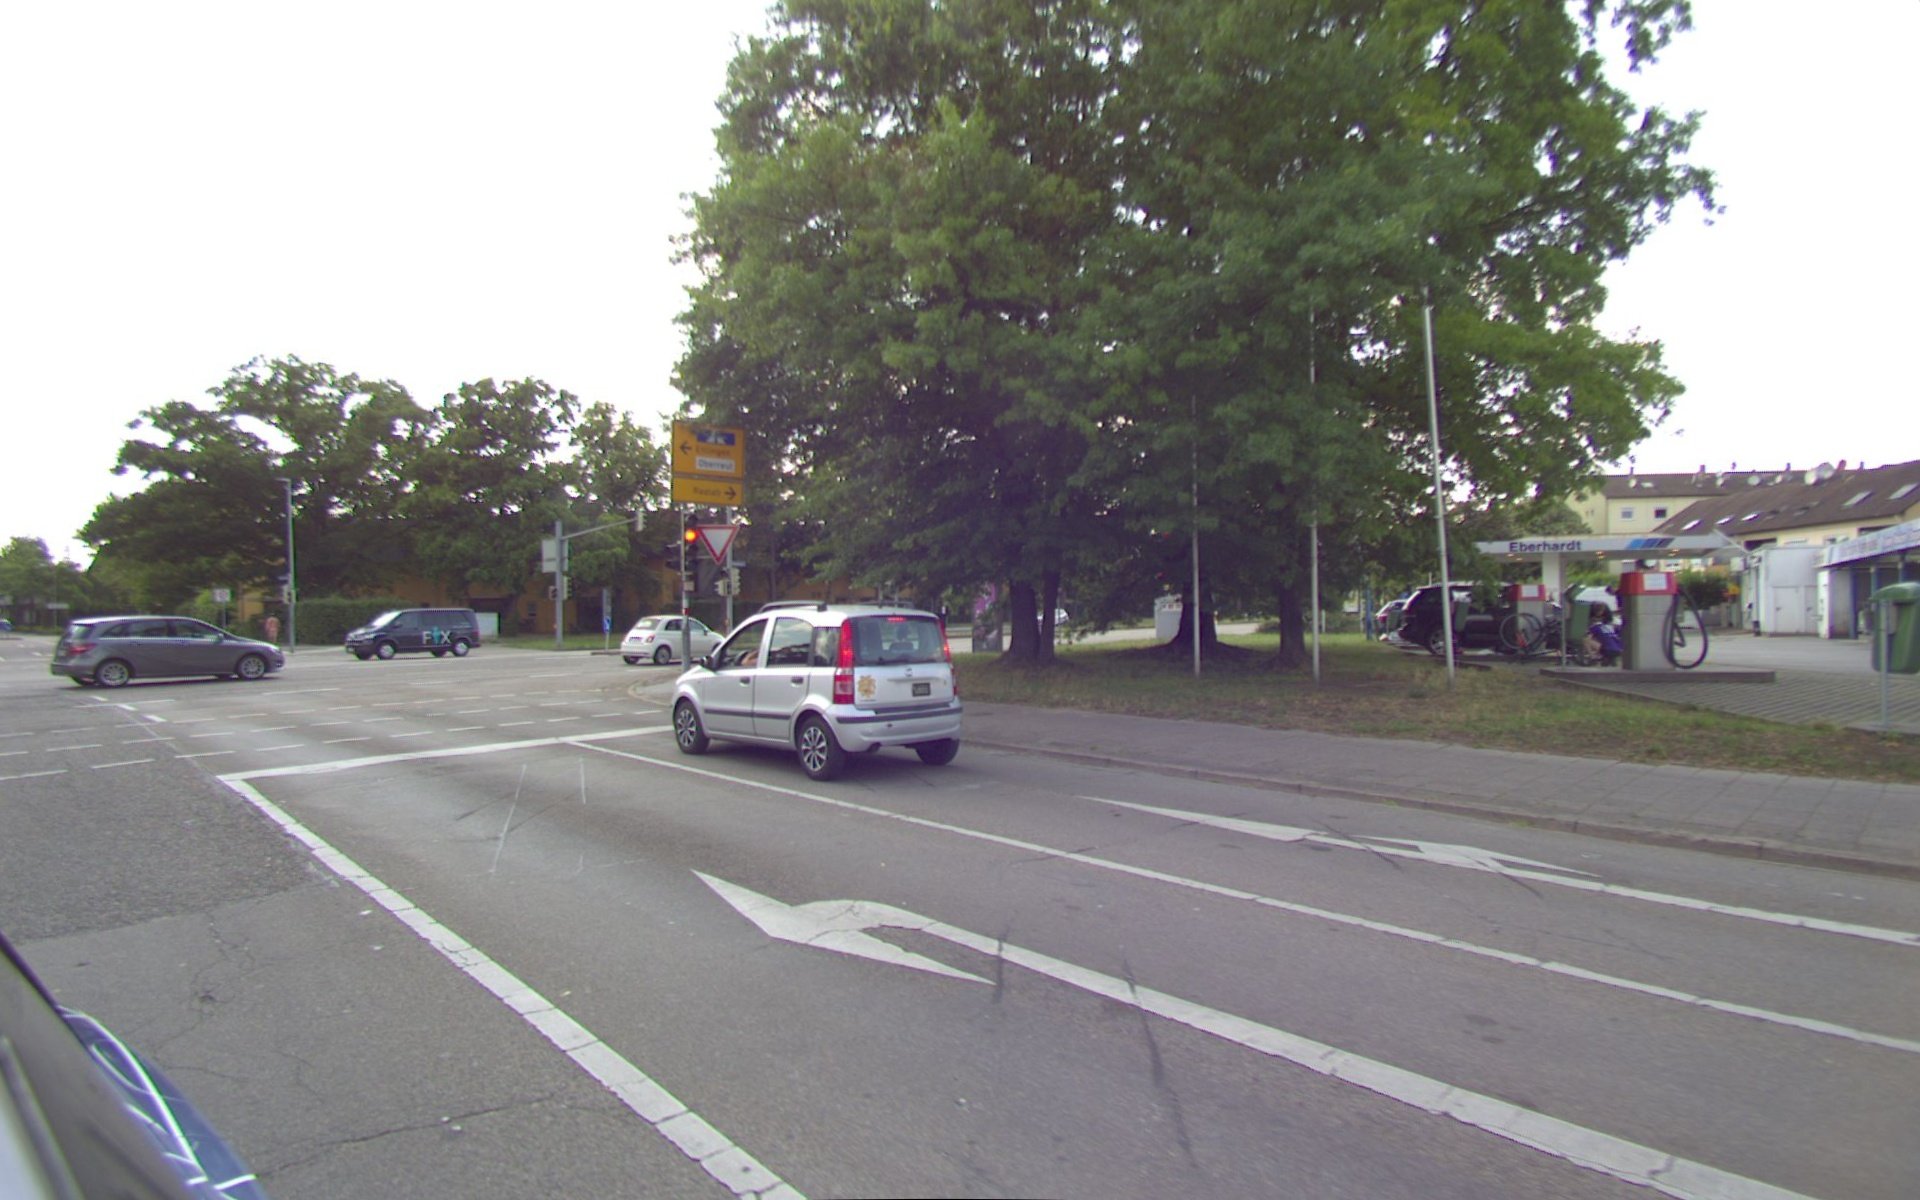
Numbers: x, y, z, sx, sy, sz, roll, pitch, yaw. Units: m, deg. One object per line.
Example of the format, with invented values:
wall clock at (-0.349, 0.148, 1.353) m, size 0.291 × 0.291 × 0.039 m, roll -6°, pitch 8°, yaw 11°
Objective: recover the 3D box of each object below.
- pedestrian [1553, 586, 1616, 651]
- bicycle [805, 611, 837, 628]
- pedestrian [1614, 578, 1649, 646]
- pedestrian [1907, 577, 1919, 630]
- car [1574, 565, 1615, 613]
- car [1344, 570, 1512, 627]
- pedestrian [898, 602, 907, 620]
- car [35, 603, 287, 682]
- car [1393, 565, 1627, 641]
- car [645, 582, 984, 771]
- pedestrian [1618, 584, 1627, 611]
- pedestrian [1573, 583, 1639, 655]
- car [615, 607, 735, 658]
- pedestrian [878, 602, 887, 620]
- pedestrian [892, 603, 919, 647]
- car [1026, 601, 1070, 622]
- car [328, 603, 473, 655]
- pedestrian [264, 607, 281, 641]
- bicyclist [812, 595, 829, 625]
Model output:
pedestrian at (11.840, 0.347, 19.205) m, size 0.635 × 1.199 × 0.768 m, roll 1°, pitch 0°, yaw -10°
bicycle at (-9.481, 1.304, 69.007) m, size 2.100 × 1.127 × 0.751 m, roll -1°, pitch -1°, yaw 22°
pedestrian at (15.164, 0.266, 22.859) m, size 0.559 × 1.506 × 0.614 m, roll 1°, pitch 0°, yaw 27°
pedestrian at (28.521, 0.098, 29.965) m, size 0.655 × 1.556 × 0.615 m, roll -1°, pitch -1°, yaw 41°
car at (34.499, -0.582, 55.083) m, size 1.750 × 2.472 × 5.688 m, roll -1°, pitch -1°, yaw 32°
car at (16.256, -0.010, 35.445) m, size 5.165 × 1.840 × 2.137 m, roll -1°, pitch -1°, yaw 24°
pedestrian at (-4.668, 0.895, 82.195) m, size 0.567 × 1.507 × 0.418 m, roll 1°, pitch 0°, yaw 19°
car at (-18.454, 0.894, 23.576) m, size 1.699 × 1.631 × 4.310 m, roll 0°, pitch 0°, yaw 33°
car at (12.521, 0.107, 23.453) m, size 4.536 × 1.608 × 2.137 m, roll -1°, pitch -1°, yaw 24°
car at (-1.576, 0.628, 10.021) m, size 1.535 × 1.528 × 3.612 m, roll 0°, pitch 0°, yaw -43°
pedestrian at (37.525, -0.159, 57.305) m, size 0.326 × 1.535 × 0.423 m, roll 1°, pitch 0°, yaw 23°
pedestrian at (11.692, 0.341, 18.337) m, size 0.635 × 1.265 × 0.768 m, roll 1°, pitch 0°, yaw -10°
car at (-8.988, 0.989, 32.091) m, size 1.571 × 1.508 × 3.500 m, roll -1°, pitch 0°, yaw 34°
pedestrian at (-6.409, 0.908, 83.942) m, size 0.567 × 1.507 × 0.418 m, roll 1°, pitch 0°, yaw 19°
pedestrian at (-1.937, 0.879, 35.796) m, size 0.721 × 1.543 × 0.755 m, roll -1°, pitch -1°, yaw 18°
car at (7.508, 0.938, 85.939) m, size 1.861 × 1.718 × 4.405 m, roll -1°, pitch -1°, yaw 33°
car at (-21.976, 1.109, 39.936) m, size 1.766 × 1.871 × 4.762 m, roll -1°, pitch 0°, yaw 33°
pedestrian at (-35.569, 1.224, 52.343) m, size 0.681 × 1.755 × 0.706 m, roll 0°, pitch -1°, yaw -40°
bicyclist at (-9.509, 0.697, 69.024) m, size 0.826 × 2.029 × 0.748 m, roll -1°, pitch -1°, yaw 22°
